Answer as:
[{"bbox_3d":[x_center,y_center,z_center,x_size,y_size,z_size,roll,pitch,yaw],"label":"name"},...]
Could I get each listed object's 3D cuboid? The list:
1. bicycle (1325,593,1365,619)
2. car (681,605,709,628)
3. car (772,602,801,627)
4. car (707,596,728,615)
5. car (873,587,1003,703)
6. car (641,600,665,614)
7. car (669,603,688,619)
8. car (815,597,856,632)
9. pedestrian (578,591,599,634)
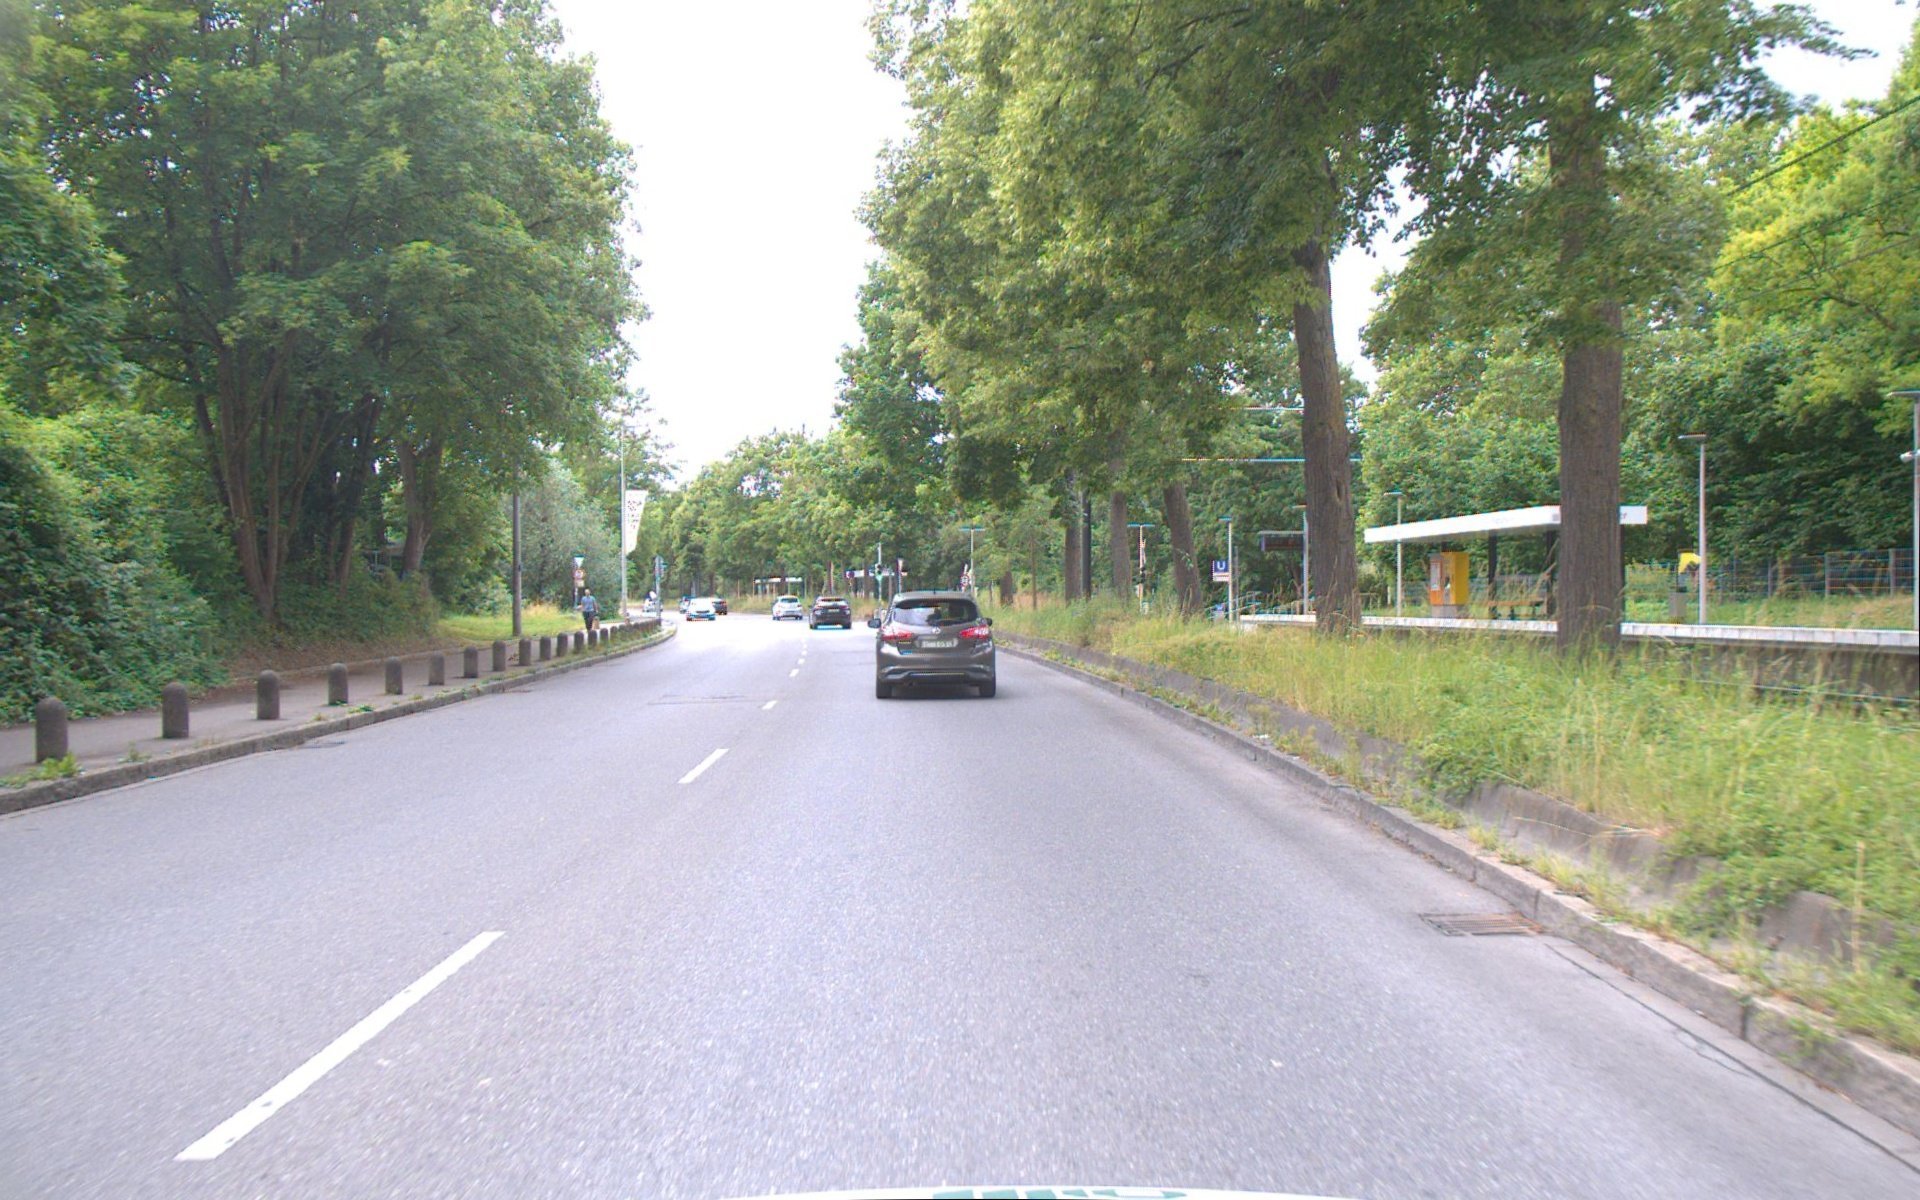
[{"bbox_3d":[15.223,0.240,65.393,1.480,0.990,0.449,1,0,-9],"label":"bicycle"},{"bbox_3d":[-18.023,1.083,112.604,1.740,1.464,4.354,-2,0,-7],"label":"car"},{"bbox_3d":[-10.890,0.881,103.841,1.742,1.498,3.995,1,0,-6],"label":"car"},{"bbox_3d":[-20.449,0.471,139.445,1.743,1.498,3.992,1,0,-9],"label":"car"},{"bbox_3d":[-0.370,0.613,25.033,1.779,1.534,3.999,-1,1,-2],"label":"car"},{"bbox_3d":[-33.089,0.762,178.146,1.752,1.498,3.971,1,0,-23],"label":"car"},{"bbox_3d":[-26.586,1.050,156.289,1.743,1.498,3.991,0,0,-10],"label":"car"},{"bbox_3d":[-5.652,0.655,74.671,1.741,1.498,3.995,1,0,-6],"label":"car"},{"bbox_3d":[-14.659,0.502,65.190,0.676,1.663,0.837,1,0,-6],"label":"pedestrian"}]
